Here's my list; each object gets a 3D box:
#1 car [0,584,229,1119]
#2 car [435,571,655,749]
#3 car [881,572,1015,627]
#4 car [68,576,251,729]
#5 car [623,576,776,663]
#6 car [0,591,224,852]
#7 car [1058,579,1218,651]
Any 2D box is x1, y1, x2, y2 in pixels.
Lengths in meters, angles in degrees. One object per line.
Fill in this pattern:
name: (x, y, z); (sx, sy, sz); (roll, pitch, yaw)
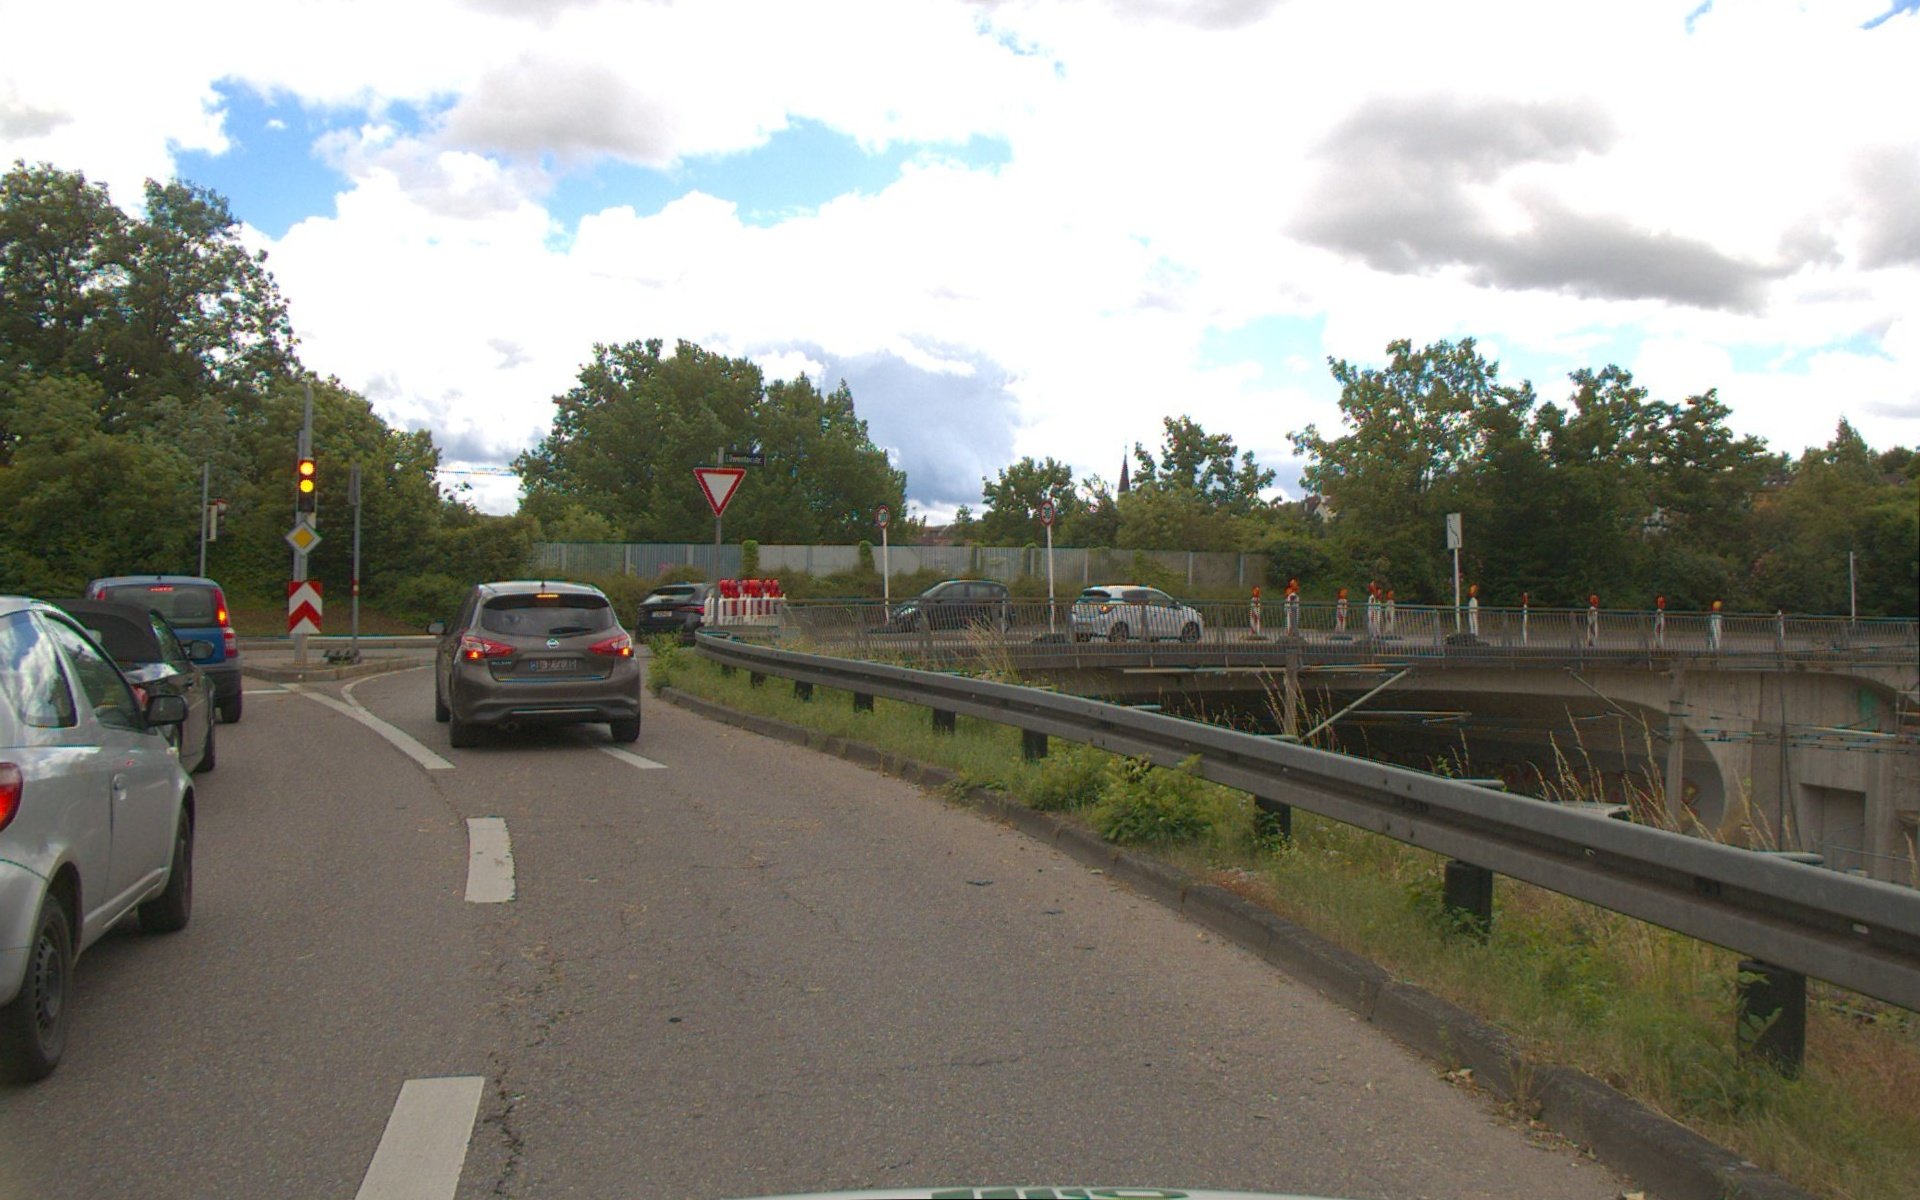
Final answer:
car: (-3.903, 0.718, 6.143); (1.642, 1.495, 3.612); (-2, 1, -16)
car: (-4.326, 0.522, 16.837); (1.771, 1.579, 3.976); (0, 0, -20)
car: (-0.353, -0.001, 49.741); (3.721, 1.579, 1.633); (1, -2, -21)
car: (-8.929, 0.503, 18.338); (1.528, 1.533, 3.344); (0, 1, -31)
car: (-5.221, 0.408, 33.662); (1.781, 1.579, 3.791); (3, -1, 11)
car: (-6.101, 0.697, 11.474); (1.541, 1.392, 4.058); (-2, 2, -21)
car: (4.590, 0.408, 42.449); (3.954, 1.704, 1.696); (2, -1, -36)
